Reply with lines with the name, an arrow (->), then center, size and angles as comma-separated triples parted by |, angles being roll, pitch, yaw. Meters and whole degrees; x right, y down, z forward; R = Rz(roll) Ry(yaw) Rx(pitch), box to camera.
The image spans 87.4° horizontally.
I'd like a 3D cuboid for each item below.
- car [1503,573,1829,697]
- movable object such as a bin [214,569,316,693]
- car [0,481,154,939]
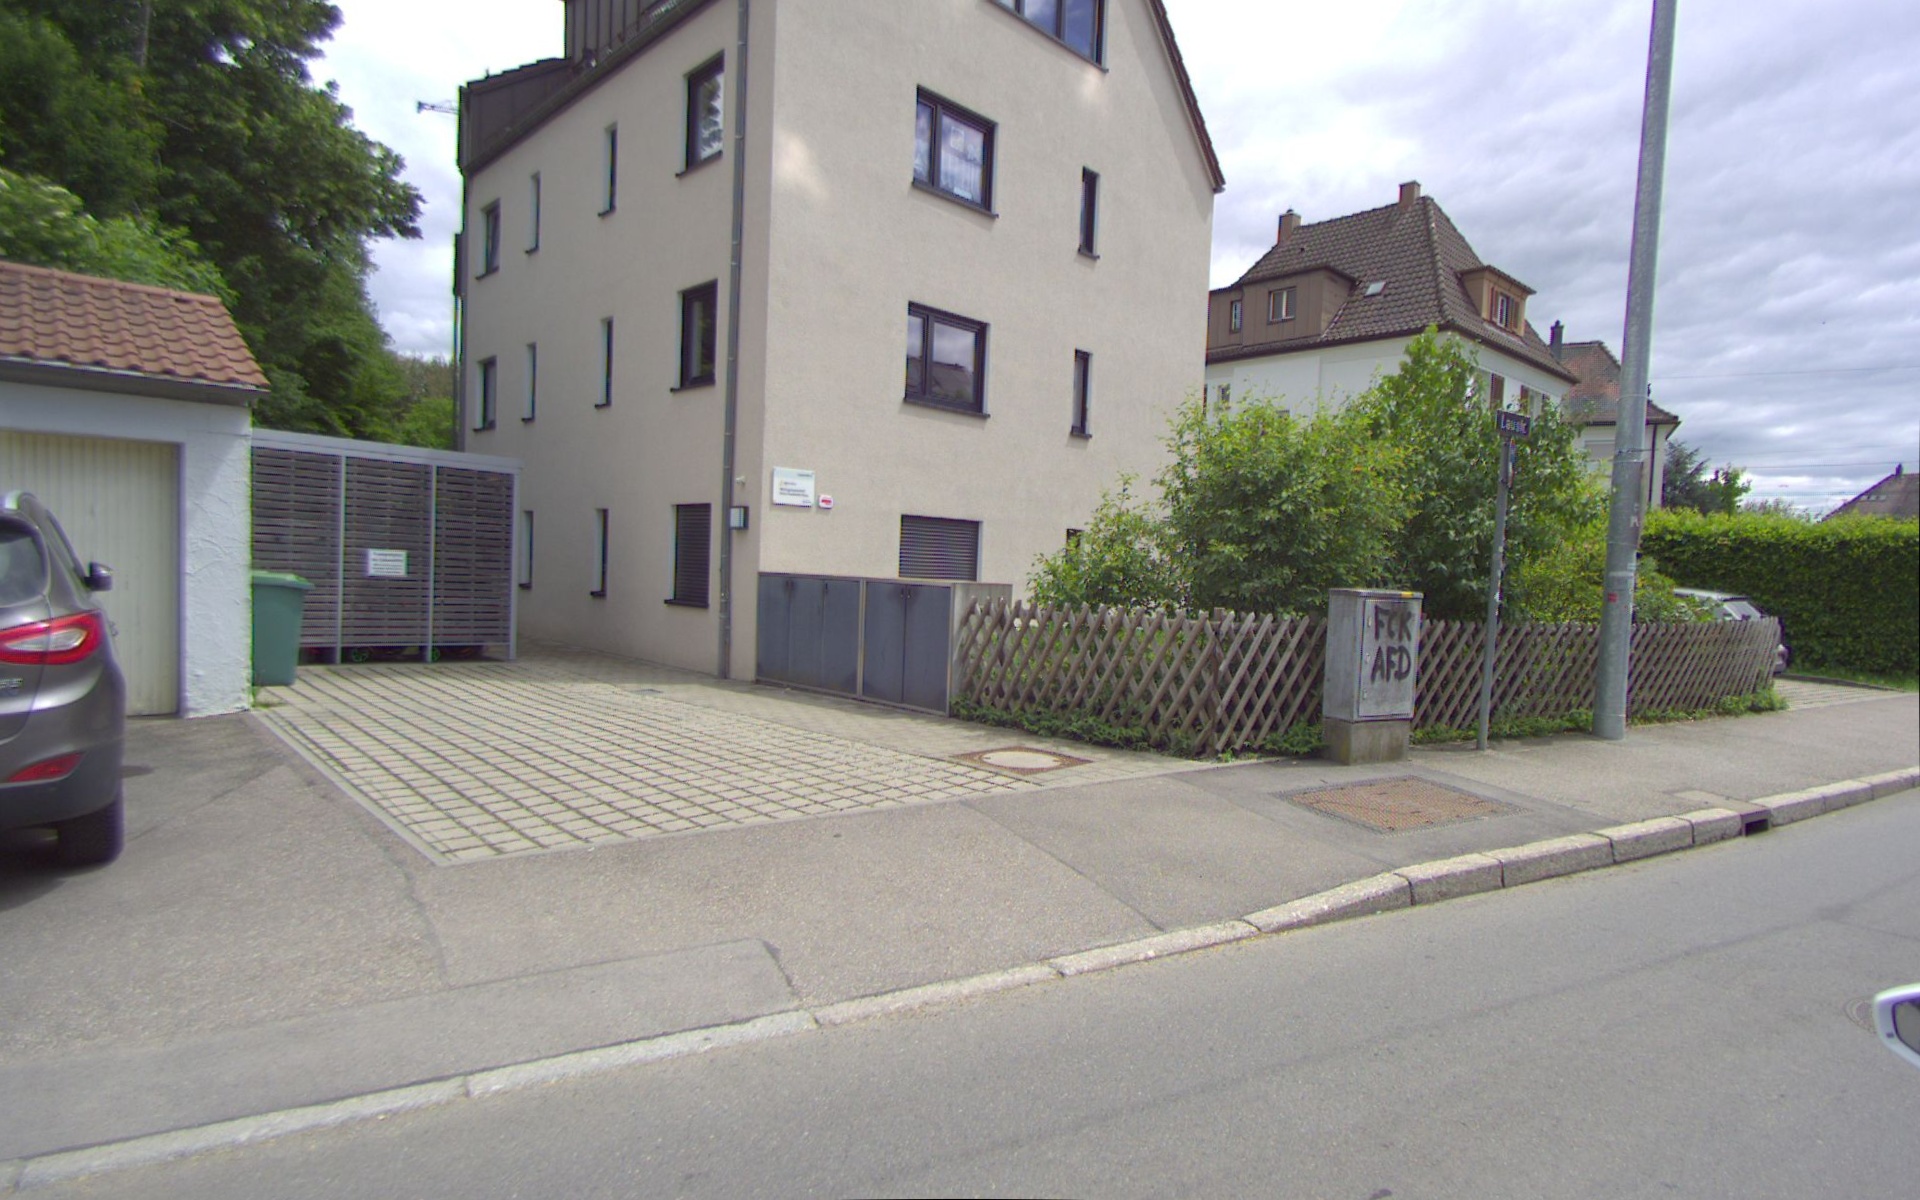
car -> 10.783, 0.460, 15.593 | 1.797, 1.453, 3.650 | 2, 4, -32
movable object such as a bin -> -6.720, 0.278, 9.710 | 0.699, 1.098, 0.680 | 0, 5, -43
car -> -5.309, 0.237, 5.086 | 1.784, 1.718, 4.273 | 1, 5, -41
